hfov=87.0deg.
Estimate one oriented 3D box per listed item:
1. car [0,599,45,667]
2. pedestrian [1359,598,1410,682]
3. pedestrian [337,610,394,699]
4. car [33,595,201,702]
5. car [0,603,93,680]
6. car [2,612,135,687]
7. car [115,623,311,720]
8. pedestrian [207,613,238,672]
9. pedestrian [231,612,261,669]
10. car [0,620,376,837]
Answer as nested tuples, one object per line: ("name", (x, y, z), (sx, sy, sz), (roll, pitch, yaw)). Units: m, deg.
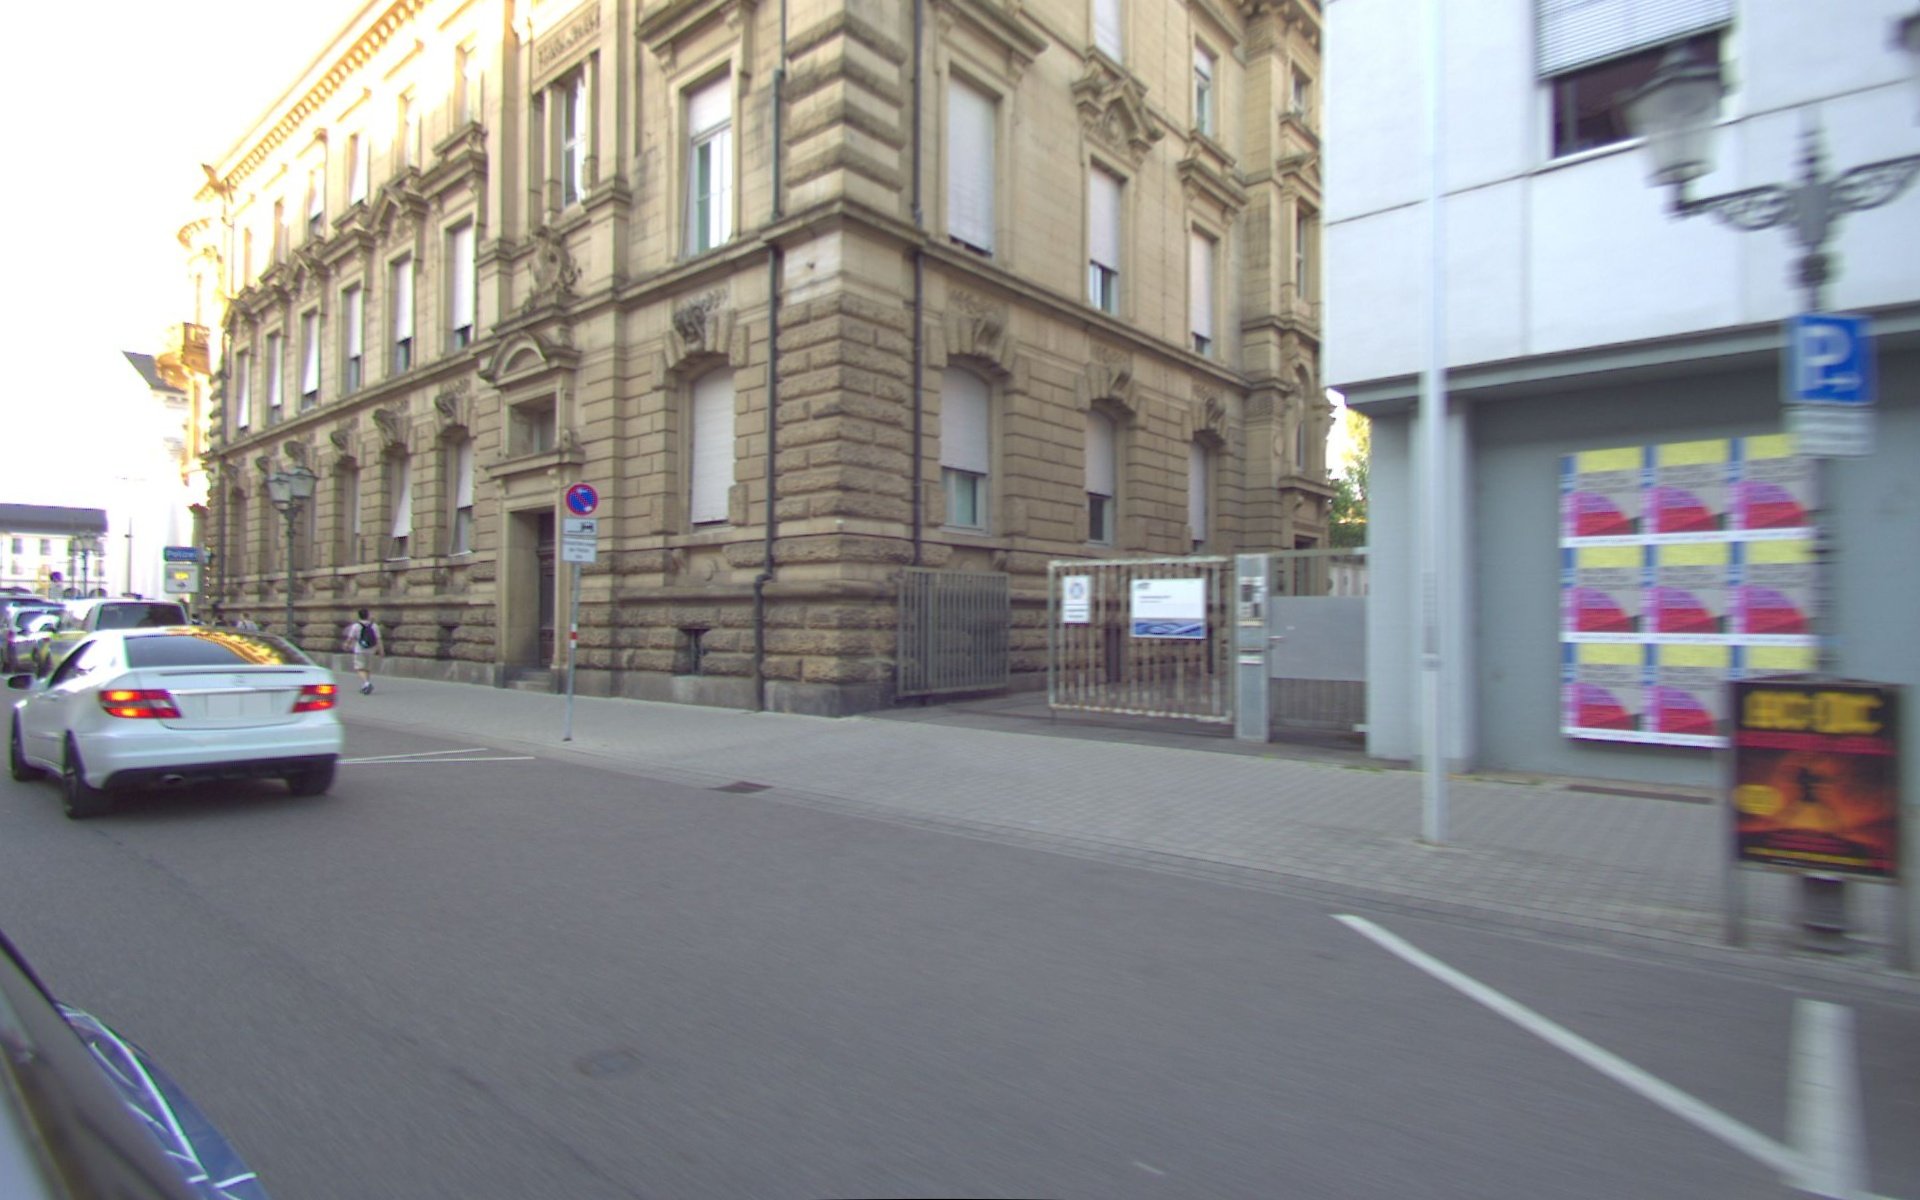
("car", (-32.954, 1.115, 34.355), (5.200, 2.188, 1.974), (-1, -1, 38))
("pedestrian", (9.383, 0.874, 22.370), (0.691, 1.818, 0.779), (1, -2, -35))
("pedestrian", (-12.101, 1.087, 20.608), (0.896, 1.743, 0.706), (-1, 1, 42))
("car", (-18.619, 0.972, 22.271), (4.986, 2.093, 1.973), (0, -1, 40))
("car", (-27.480, 1.180, 30.004), (5.205, 2.103, 1.973), (-1, -2, 41))
("car", (-23.235, 1.210, 26.314), (4.988, 1.765, 1.972), (-1, -2, 41))
("car", (-13.444, 1.182, 18.143), (4.163, 1.506, 1.973), (-1, -2, 41))
("pedestrian", (-22.101, 1.269, 30.339), (0.830, 1.743, 0.576), (-1, -2, 42))
("pedestrian", (-21.915, 1.235, 31.070), (0.702, 1.743, 0.601), (-1, -2, 42))
("car", (-6.753, 0.890, 8.653), (4.085, 1.419, 1.767), (-1, -2, 40))
